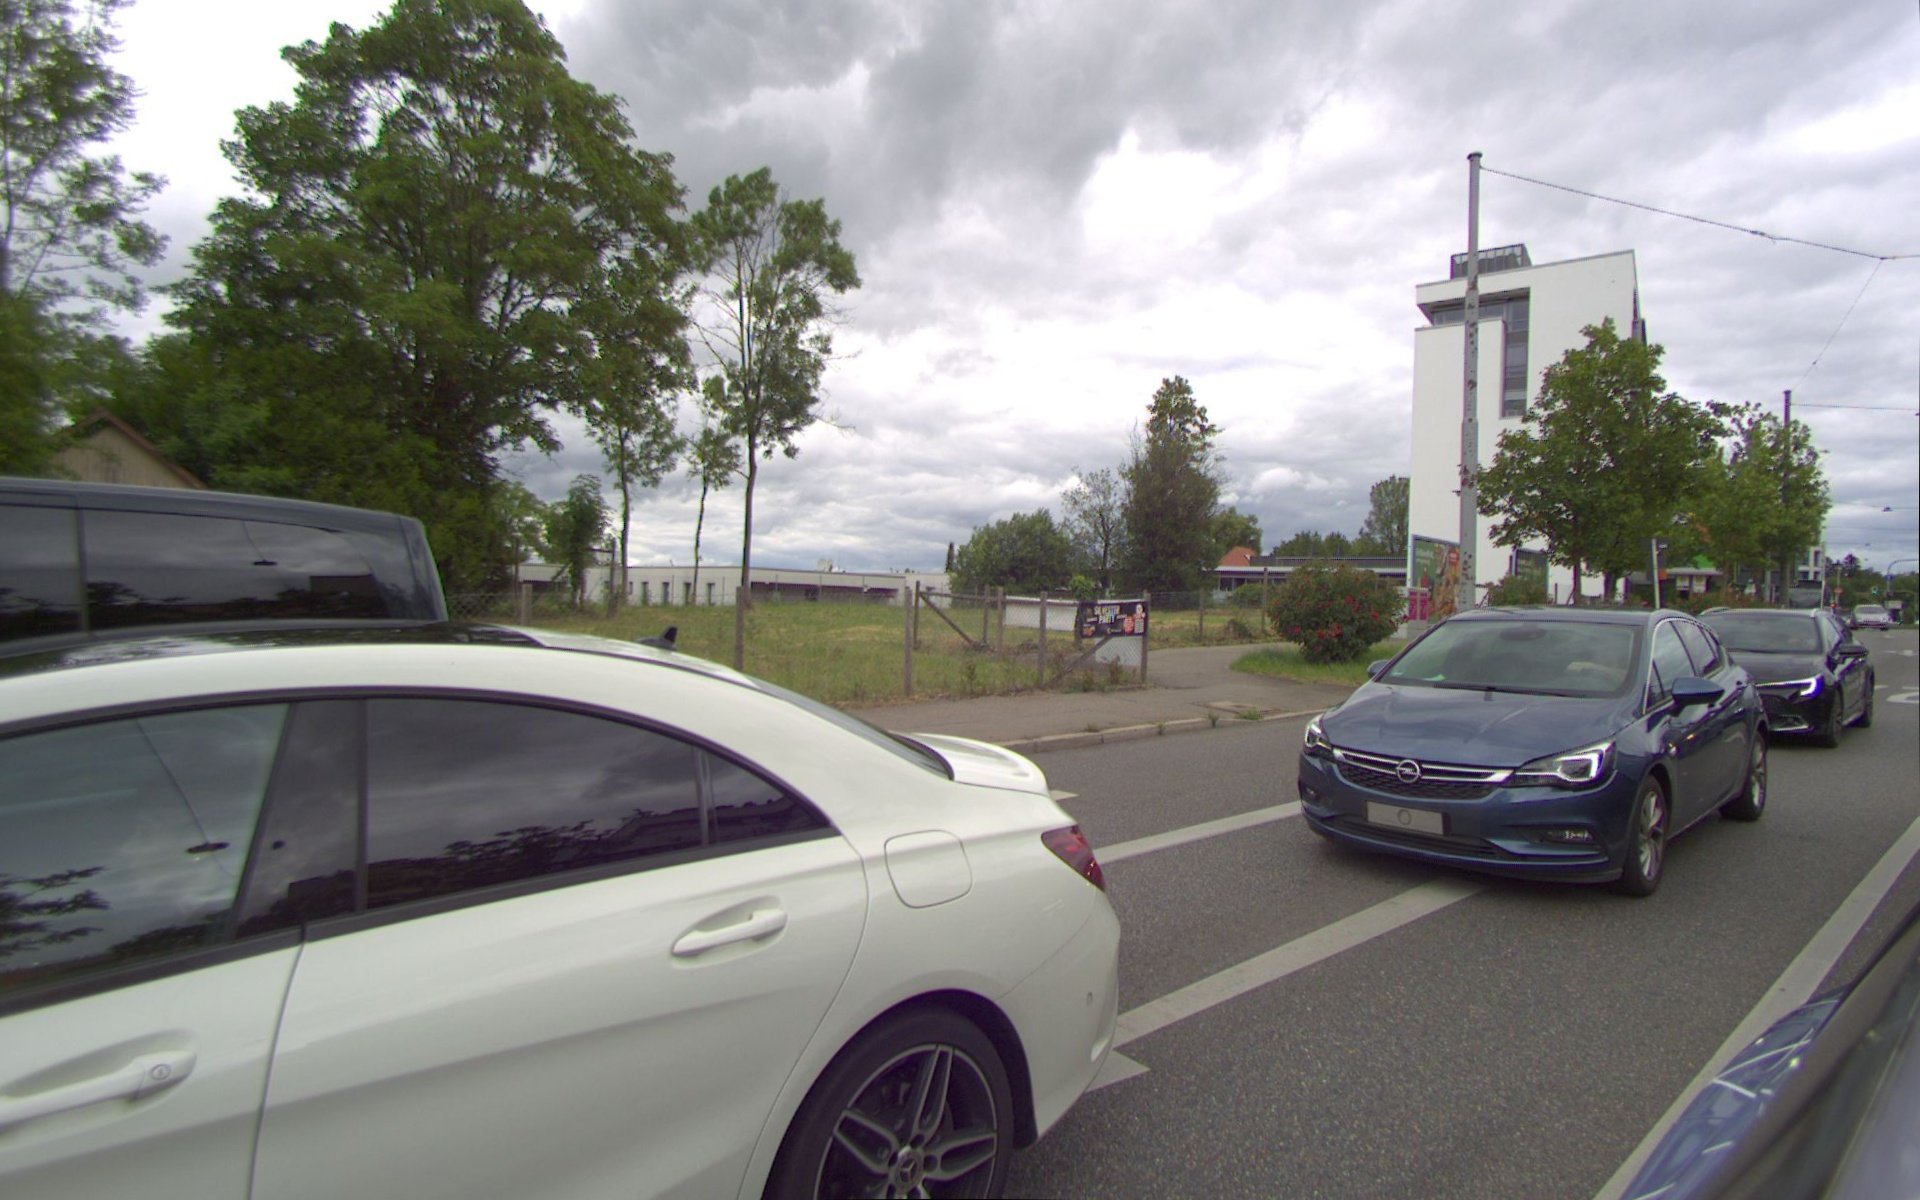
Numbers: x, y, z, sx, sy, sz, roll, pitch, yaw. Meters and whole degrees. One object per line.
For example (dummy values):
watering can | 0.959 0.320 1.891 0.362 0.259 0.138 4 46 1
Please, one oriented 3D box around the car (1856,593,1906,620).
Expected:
car | 57.998 0.388 63.801 1.840 1.637 3.735 -1 -1 35

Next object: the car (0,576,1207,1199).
car | -1.538 0.694 1.813 4.300 1.451 1.652 0 1 -41

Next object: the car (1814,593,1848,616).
car | 75.138 0.374 87.316 1.841 1.910 4.083 -1 -1 36

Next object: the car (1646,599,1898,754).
car | 9.400 0.727 11.615 3.854 1.475 1.663 0 0 -42

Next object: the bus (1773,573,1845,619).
bus | 53.957 -0.309 64.569 2.952 2.664 11.986 0 1 37

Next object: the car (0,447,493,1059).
car | -4.224 0.472 3.241 4.627 1.863 1.952 0 -1 -41

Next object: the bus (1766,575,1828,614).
bus | 61.424 -0.443 74.468 2.952 2.664 12.751 0 1 37

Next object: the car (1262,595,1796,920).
car | 3.809 0.690 6.480 3.931 1.428 1.825 0 0 -42
